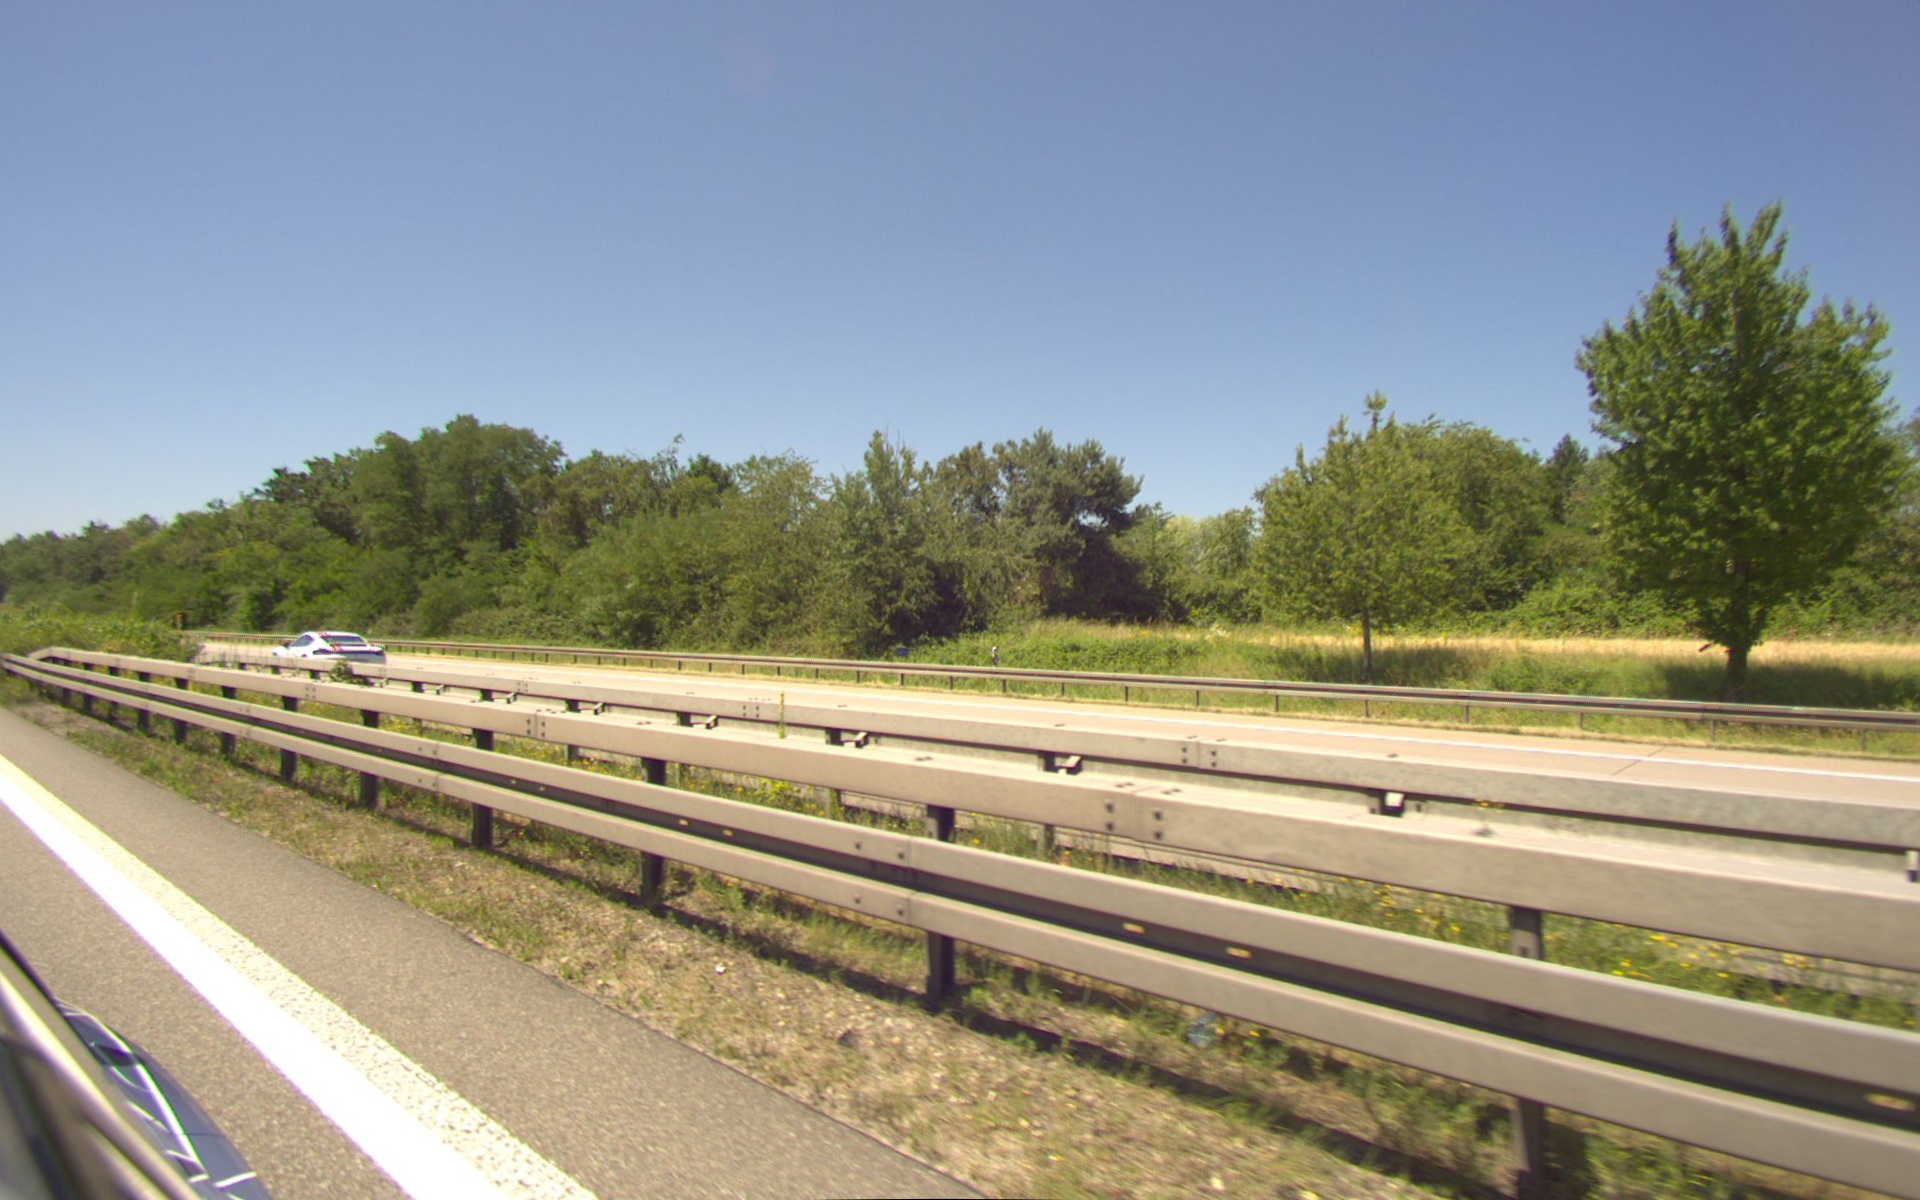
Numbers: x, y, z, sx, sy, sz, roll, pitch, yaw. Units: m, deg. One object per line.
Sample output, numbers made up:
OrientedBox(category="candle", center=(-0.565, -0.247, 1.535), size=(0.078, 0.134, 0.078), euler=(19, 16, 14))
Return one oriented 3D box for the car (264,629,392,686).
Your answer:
OrientedBox(category="car", center=(-16.483, 1.473, 26.329), size=(4.082, 1.324, 1.671), euler=(-1, -4, 41))
